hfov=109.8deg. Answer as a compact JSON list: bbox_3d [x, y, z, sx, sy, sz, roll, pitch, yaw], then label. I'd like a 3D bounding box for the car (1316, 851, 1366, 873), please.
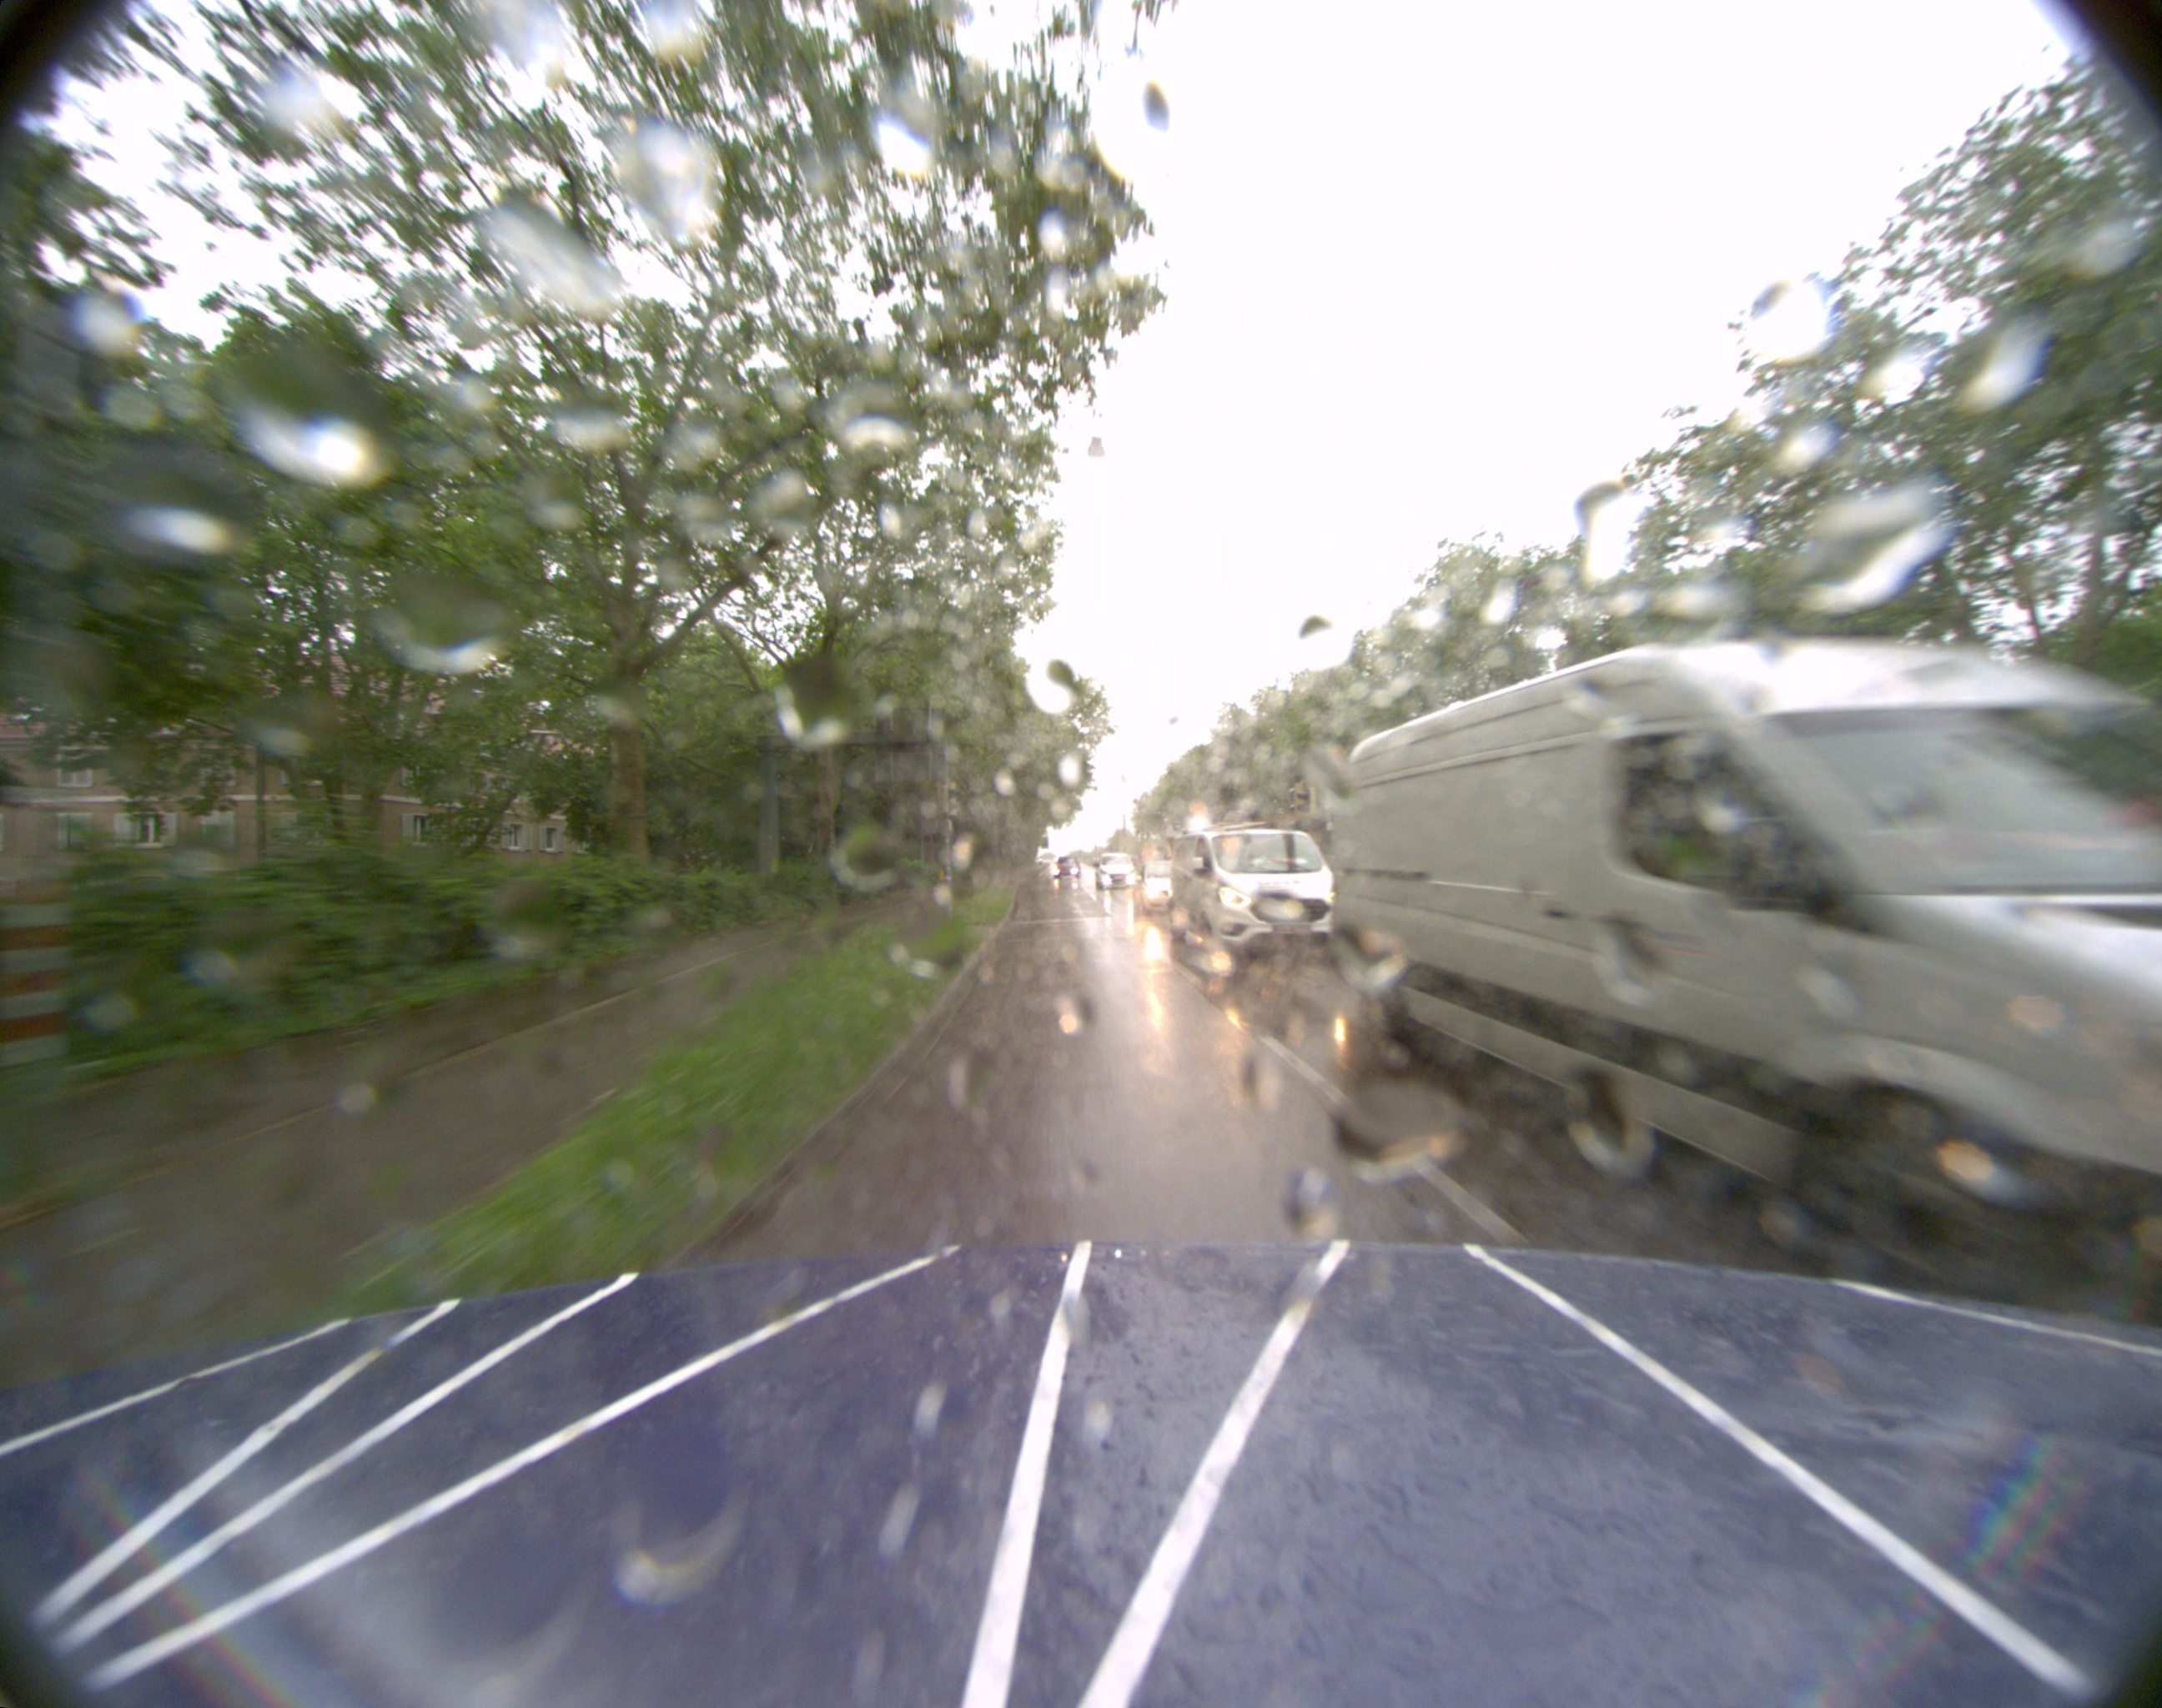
[{"bbox_3d":[20.401,0.631,59.771,2.037,1.648,4.608,0,0,-4],"label":"car"}]

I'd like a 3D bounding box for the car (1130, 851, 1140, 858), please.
[{"bbox_3d":[12.903,0.214,180.430,1.891,1.641,4.367,0,0,-3],"label":"car"}]

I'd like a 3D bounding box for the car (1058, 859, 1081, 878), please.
[{"bbox_3d":[-0.916,1.149,60.610,1.727,1.425,3.851,-1,0,-1],"label":"car"}]

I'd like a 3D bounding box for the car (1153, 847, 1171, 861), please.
[{"bbox_3d":[15.111,-0.016,142.095,2.336,2.432,6.137,0,1,-3],"label":"car"}]

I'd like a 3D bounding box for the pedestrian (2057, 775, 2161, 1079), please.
[{"bbox_3d":[6.431,0.392,4.315,0.792,1.705,0.770,-3,2,-3],"label":"pedestrian"}]

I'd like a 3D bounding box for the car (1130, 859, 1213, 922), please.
[{"bbox_3d":[2.403,0.925,20.987,1.730,1.470,3.804,-1,1,-1],"label":"car"}]

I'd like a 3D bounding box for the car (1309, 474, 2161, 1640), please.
[{"bbox_3d":[3.429,0.384,4.095,2.336,2.543,6.112,-2,1,-2],"label":"car"}]

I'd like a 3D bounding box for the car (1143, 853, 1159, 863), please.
[{"bbox_3d":[11.943,0.662,129.336,2.037,1.648,4.274,0,0,-5],"label":"car"}]

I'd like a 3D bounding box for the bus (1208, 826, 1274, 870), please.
[{"bbox_3d":[15.171,-0.577,73.331,3.038,3.816,12.240,-2,1,-3],"label":"bus"}]

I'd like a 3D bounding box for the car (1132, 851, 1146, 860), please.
[{"bbox_3d":[11.071,0.302,145.878,2.019,1.648,4.393,0,0,-4],"label":"car"}]

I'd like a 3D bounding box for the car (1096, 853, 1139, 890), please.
[{"bbox_3d":[1.704,0.792,36.943,1.869,1.614,4.262,-2,1,0],"label":"car"}]

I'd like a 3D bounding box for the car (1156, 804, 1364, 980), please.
[{"bbox_3d":[2.624,0.453,12.610,1.999,2.249,5.286,-2,1,-2],"label":"car"}]

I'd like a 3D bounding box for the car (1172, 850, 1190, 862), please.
[{"bbox_3d":[15.818,0.360,120.638,1.962,1.851,4.639,0,0,-3],"label":"car"}]
